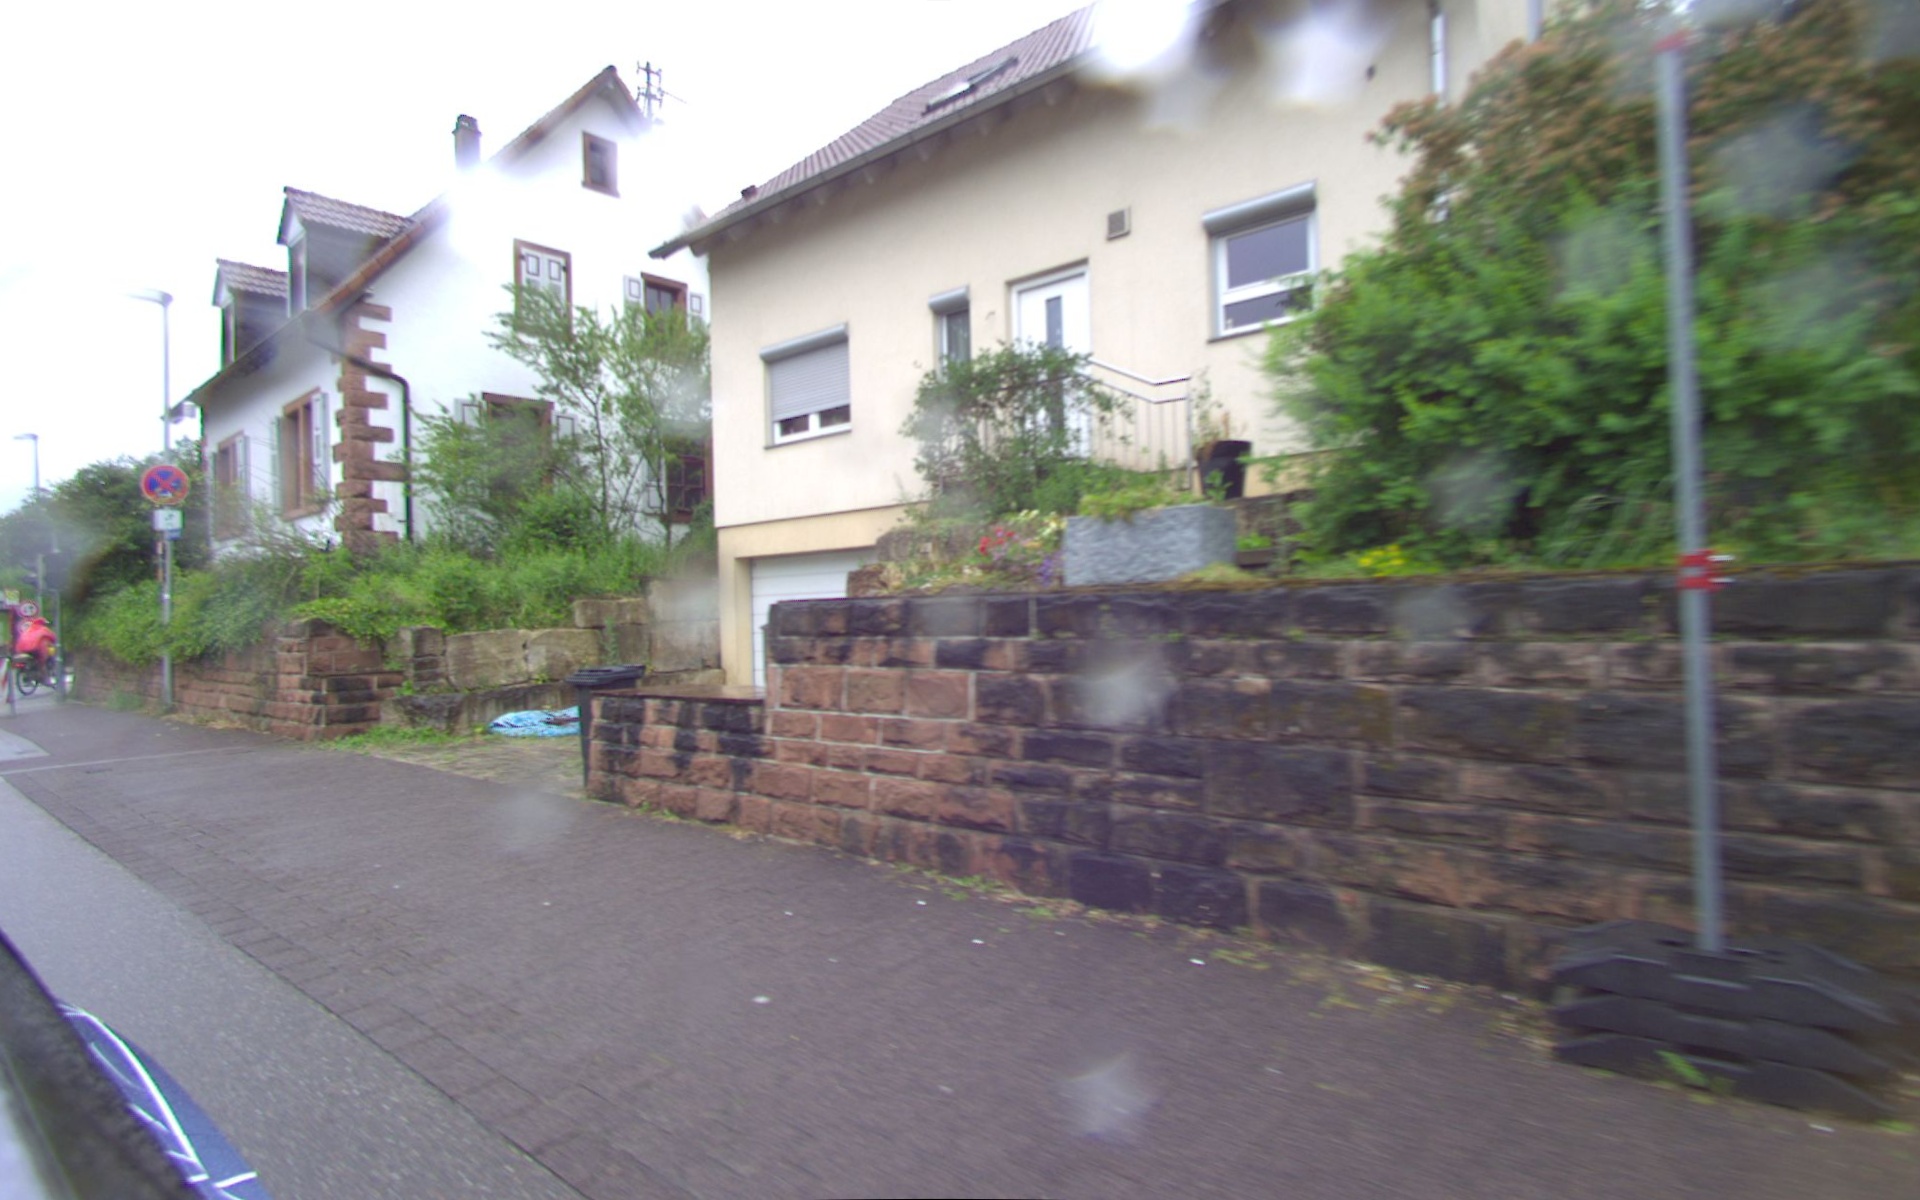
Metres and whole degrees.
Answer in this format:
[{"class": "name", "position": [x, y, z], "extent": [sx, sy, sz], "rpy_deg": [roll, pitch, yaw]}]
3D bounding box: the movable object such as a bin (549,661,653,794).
[{"class": "movable object such as a bin", "position": [-2.806, 0.976, 7.921], "extent": [0.544, 0.937, 0.532], "rpy_deg": [-1, 1, 39]}]

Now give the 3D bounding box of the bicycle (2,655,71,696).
[{"class": "bicycle", "position": [-22.429, 1.817, 24.610], "extent": [0.652, 0.877, 1.941], "rpy_deg": [-3, -1, -25]}]

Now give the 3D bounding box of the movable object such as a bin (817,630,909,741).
[{"class": "movable object such as a bin", "position": [-1.018, 0.884, 10.572], "extent": [0.655, 1.071, 0.615], "rpy_deg": [-5, -2, 42]}]

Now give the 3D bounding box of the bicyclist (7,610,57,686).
[{"class": "bicyclist", "position": [-22.374, 1.152, 24.414], "extent": [0.647, 1.783, 0.706], "rpy_deg": [-3, -1, -24]}]
